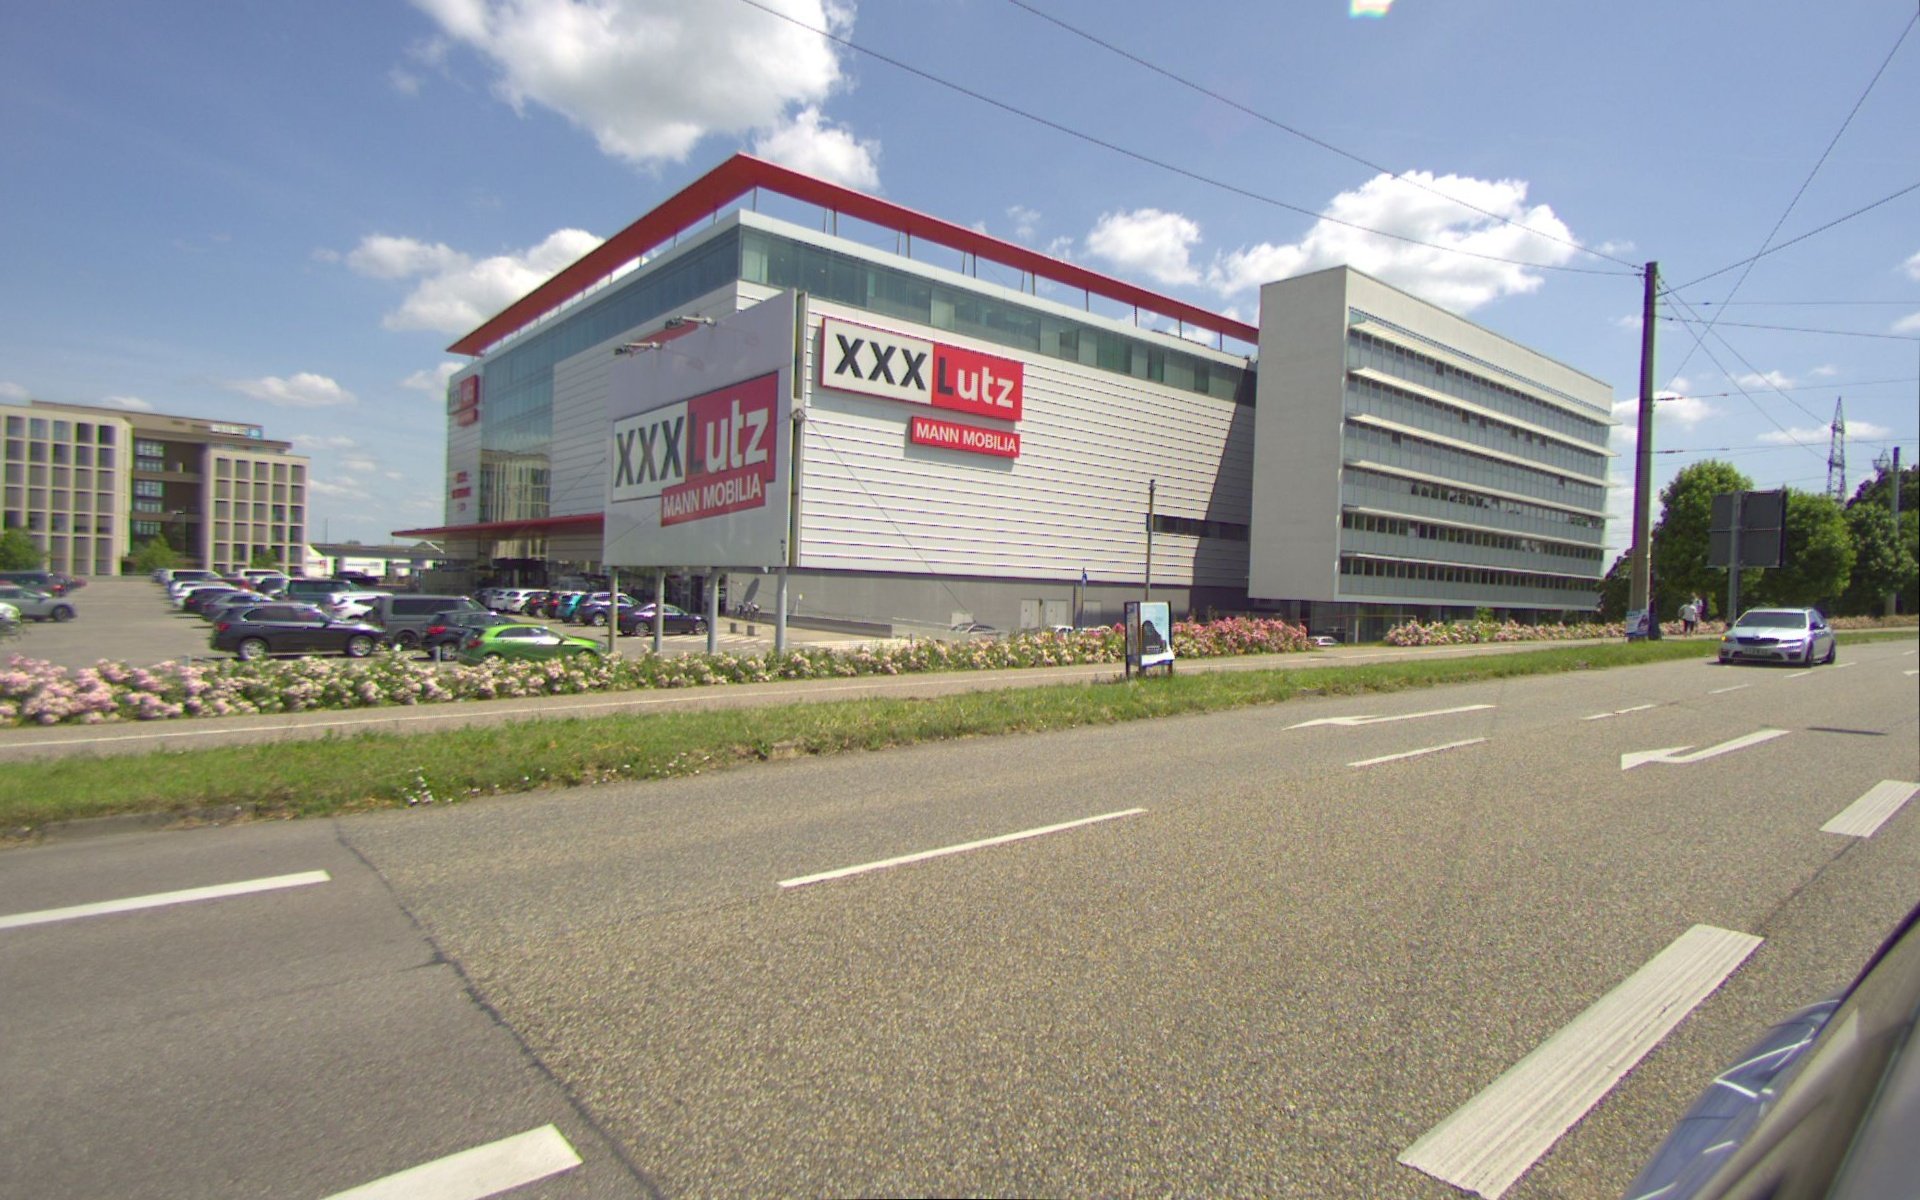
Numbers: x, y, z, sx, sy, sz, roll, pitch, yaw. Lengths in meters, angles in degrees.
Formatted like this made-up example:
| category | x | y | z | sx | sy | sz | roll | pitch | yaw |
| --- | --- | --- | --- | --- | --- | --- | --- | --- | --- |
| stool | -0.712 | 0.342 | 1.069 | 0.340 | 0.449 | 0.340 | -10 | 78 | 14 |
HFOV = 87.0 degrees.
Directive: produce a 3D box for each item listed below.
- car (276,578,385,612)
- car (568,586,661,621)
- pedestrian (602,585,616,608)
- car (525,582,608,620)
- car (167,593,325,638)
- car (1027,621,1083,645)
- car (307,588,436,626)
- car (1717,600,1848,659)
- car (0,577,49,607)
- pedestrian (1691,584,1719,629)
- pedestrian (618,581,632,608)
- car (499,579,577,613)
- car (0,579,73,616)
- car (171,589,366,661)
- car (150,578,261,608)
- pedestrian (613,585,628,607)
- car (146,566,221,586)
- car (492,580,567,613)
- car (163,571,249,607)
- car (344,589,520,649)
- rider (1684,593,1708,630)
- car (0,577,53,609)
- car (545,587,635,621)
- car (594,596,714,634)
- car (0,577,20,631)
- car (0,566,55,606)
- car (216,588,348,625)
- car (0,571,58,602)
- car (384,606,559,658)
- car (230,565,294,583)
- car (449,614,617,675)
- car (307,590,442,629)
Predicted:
| category | x | y | z | sx | sy | sz | roll | pitch | yaw |
| --- | --- | --- | --- | --- | --- | --- | --- | --- | --- |
| car | -36.368 | -0.289 | 58.594 | 5.095 | 1.888 | 1.996 | 0 | 0 | -43 |
| car | -18.190 | 0.194 | 53.380 | 4.257 | 1.804 | 1.996 | 0 | -1 | -41 |
| pedestrian | -24.781 | -0.235 | 71.458 | 0.723 | 1.577 | 0.741 | 0 | 0 | -43 |
| car | -22.193 | 0.018 | 57.099 | 3.931 | 2.039 | 1.997 | 0 | 1 | -41 |
| car | -28.006 | 0.560 | 39.811 | 4.913 | 1.630 | 1.997 | 0 | 2 | -41 |
| car | 7.069 | 2.411 | 74.804 | 3.931 | 1.632 | 1.997 | 0 | 0 | -41 |
| car | -27.366 | 0.286 | 47.168 | 4.913 | 1.671 | 1.997 | 0 | 0 | -41 |
| car | 20.681 | 0.687 | 25.404 | 3.930 | 1.355 | 1.895 | 0 | 0 | -41 |
| car | -54.295 | -0.449 | 56.596 | 4.913 | 1.631 | 1.997 | 0 | 0 | -41 |
| pedestrian | 31.859 | 0.266 | 43.251 | 0.914 | 1.872 | 0.758 | 0 | 0 | -39 |
| pedestrian | -23.920 | -0.407 | 72.261 | 0.723 | 1.893 | 0.741 | 0 | 0 | -43 |
| car | -25.562 | -0.238 | 61.381 | 3.931 | 2.039 | 1.997 | 0 | 0 | -41 |
| car | -42.887 | -0.106 | 44.922 | 1.974 | 1.631 | 4.970 | 0 | 0 | 19 |
| car | -21.811 | 0.729 | 32.042 | 4.913 | 2.038 | 1.997 | 0 | 2 | -41 |
| car | -42.677 | -0.388 | 57.280 | 4.913 | 1.631 | 1.997 | 0 | 0 | -41 |
| pedestrian | -23.782 | -0.290 | 70.894 | 0.723 | 1.577 | 0.741 | 0 | 0 | -43 |
| car | -65.499 | -1.990 | 85.403 | 4.913 | 1.631 | 1.997 | 0 | 0 | -41 |
| car | -27.011 | -0.237 | 63.598 | 3.931 | 2.039 | 1.997 | 0 | 1 | -41 |
| car | -44.152 | -0.611 | 59.282 | 3.931 | 2.039 | 1.997 | 0 | 0 | -41 |
| car | -19.318 | 0.643 | 37.222 | 5.438 | 2.039 | 1.997 | 0 | 0 | -41 |
| rider | 29.819 | 0.451 | 41.020 | 0.607 | 1.476 | 0.670 | 0 | 0 | -41 |
| car | -49.227 | -0.368 | 51.194 | 4.913 | 1.631 | 1.997 | 0 | 0 | -41 |
| car | -20.267 | 0.220 | 55.518 | 4.257 | 1.804 | 1.996 | 0 | -1 | -41 |
| car | -14.038 | 0.640 | 46.578 | 4.913 | 1.631 | 1.997 | 0 | 0 | -41 |
| car | -38.463 | 0.140 | 37.721 | 4.913 | 2.032 | 1.997 | 0 | 0 | -41 |
| car | -57.373 | -0.846 | 60.397 | 4.913 | 2.332 | 1.997 | 0 | 0 | -41 |
| car | -31.656 | 0.270 | 47.328 | 4.915 | 1.631 | 1.996 | 0 | 0 | -42 |
| car | -61.599 | -0.890 | 66.151 | 3.931 | 2.039 | 1.997 | 0 | 1 | -41 |
| car | -16.147 | 1.004 | 33.599 | 4.913 | 1.570 | 1.997 | 0 | 0 | -41 |
| car | -67.036 | -2.453 | 97.250 | 4.913 | 1.631 | 1.997 | 0 | 0 | -41 |
| car | -12.796 | 1.273 | 30.431 | 4.228 | 1.514 | 1.998 | 0 | 4 | -41 |
| car | -25.841 | 0.402 | 44.782 | 4.913 | 1.631 | 1.997 | 0 | 0 | -41 |
